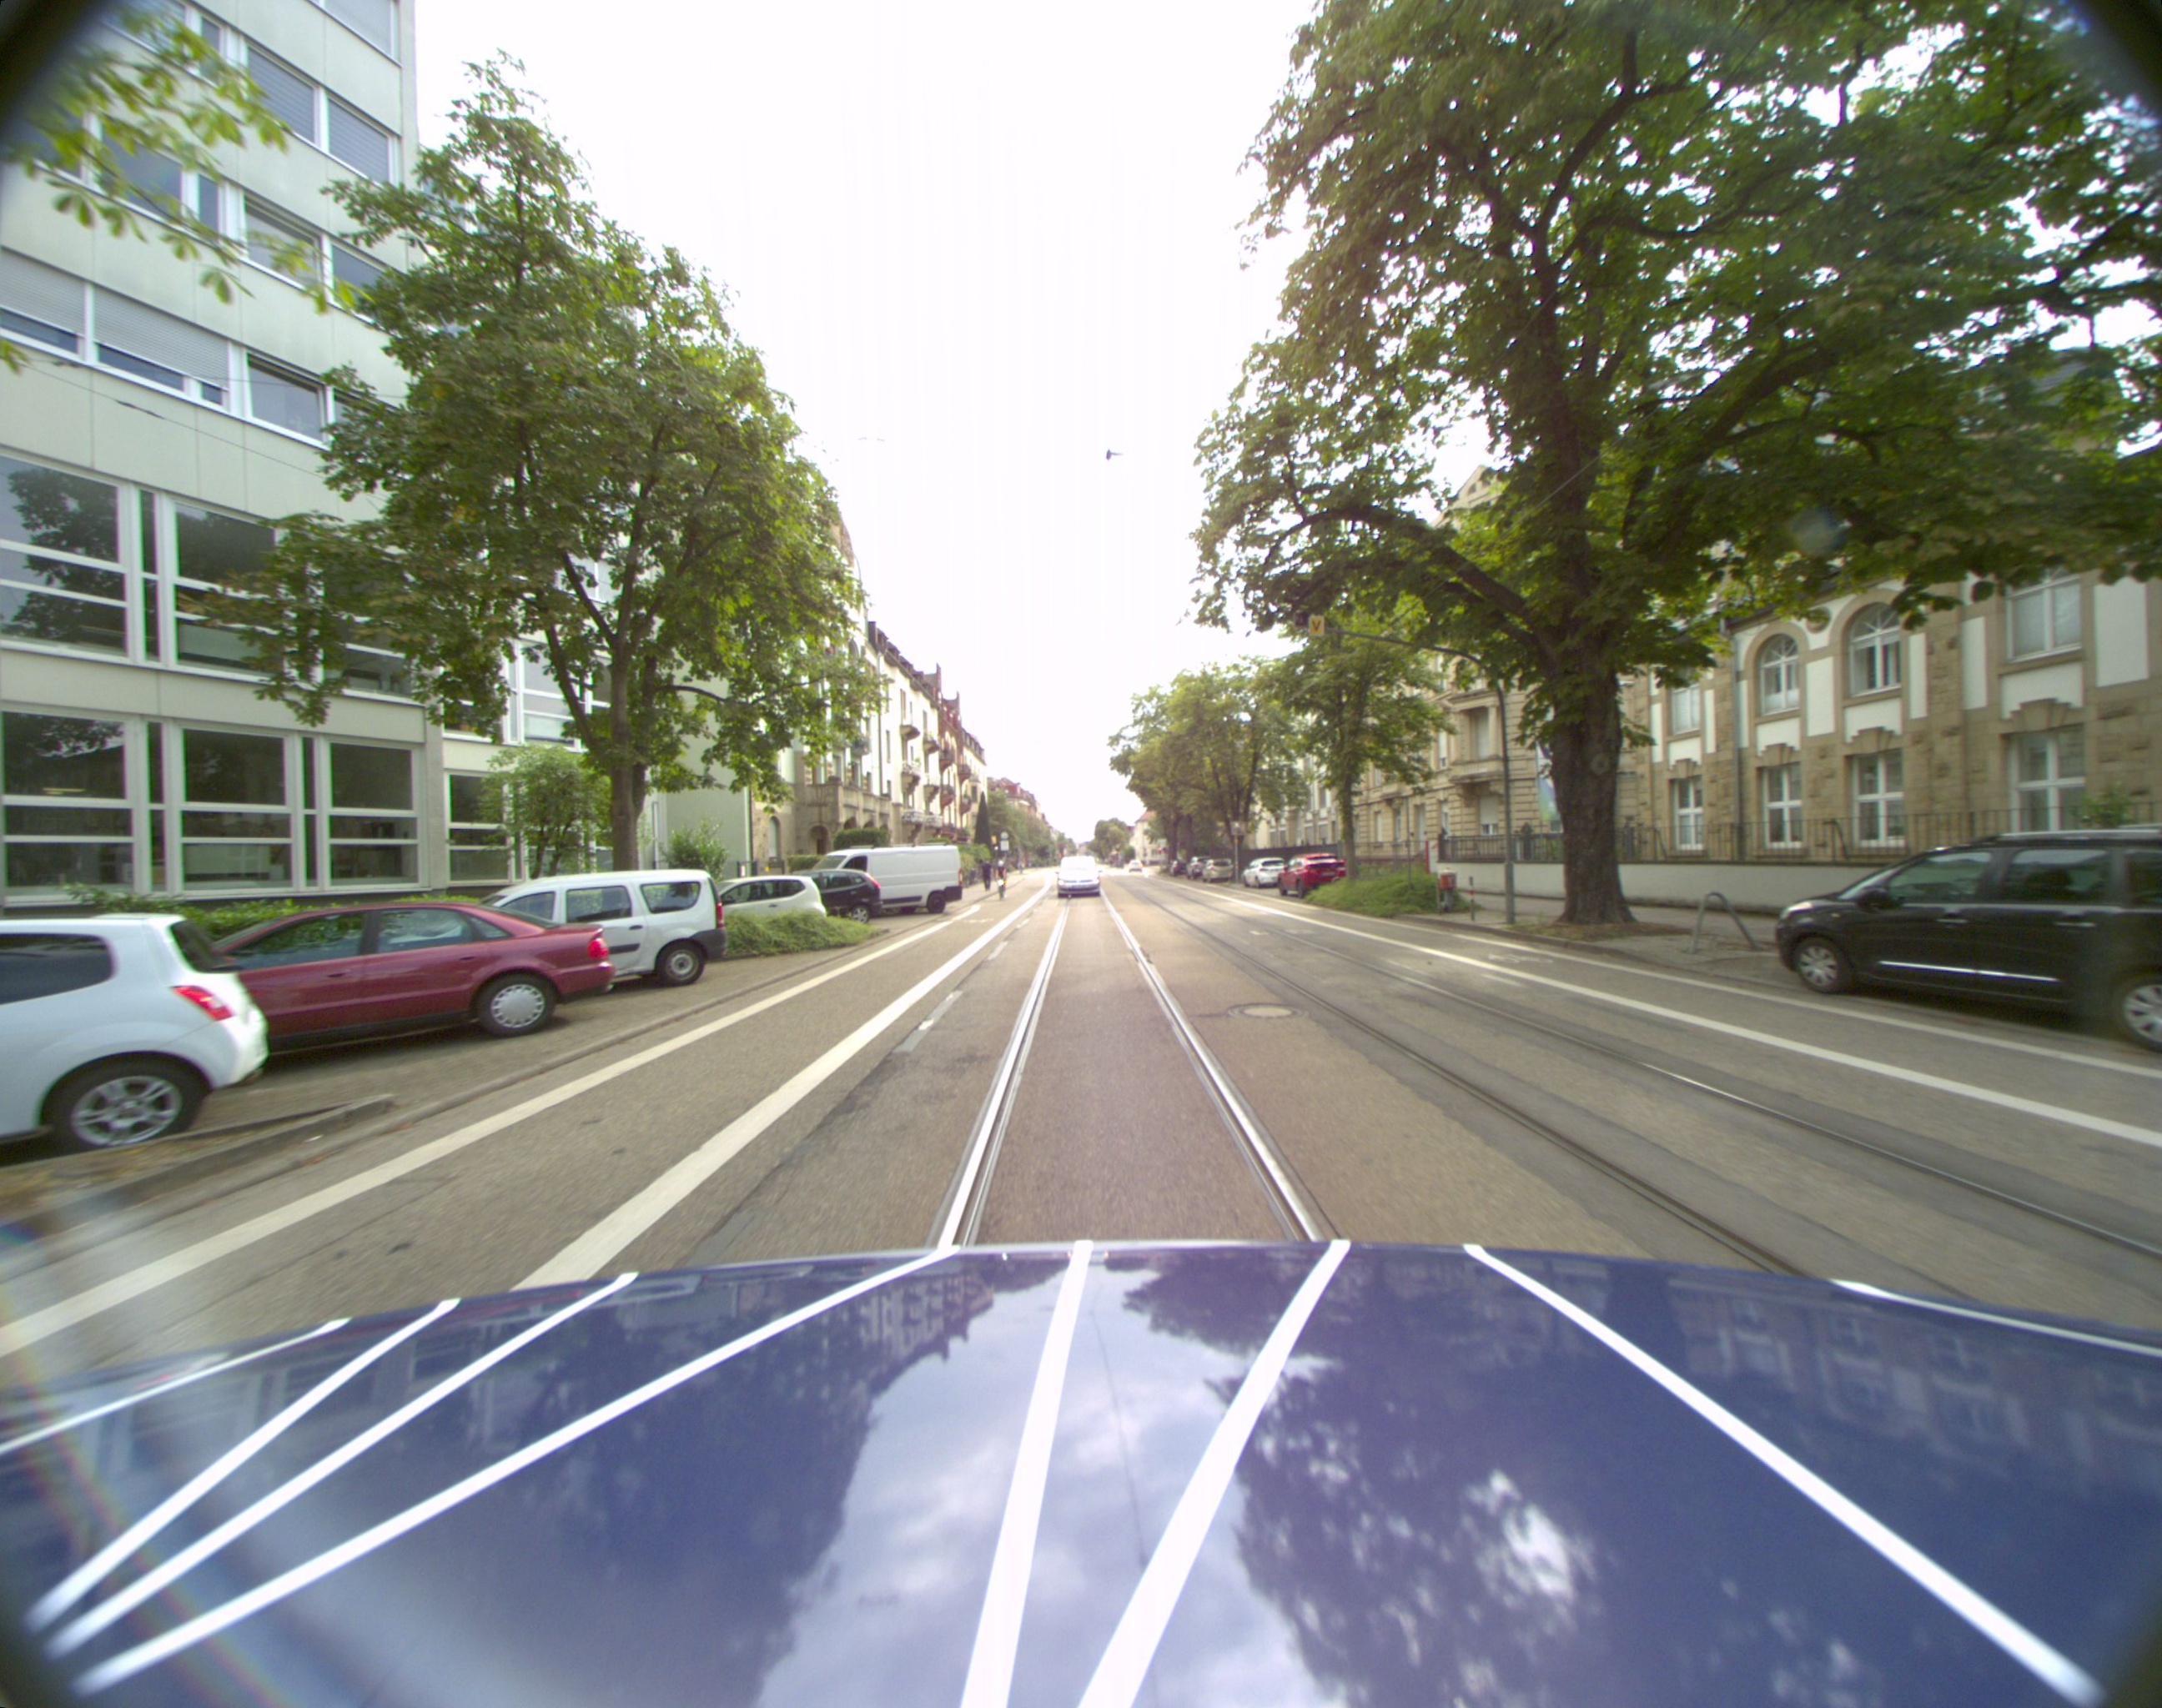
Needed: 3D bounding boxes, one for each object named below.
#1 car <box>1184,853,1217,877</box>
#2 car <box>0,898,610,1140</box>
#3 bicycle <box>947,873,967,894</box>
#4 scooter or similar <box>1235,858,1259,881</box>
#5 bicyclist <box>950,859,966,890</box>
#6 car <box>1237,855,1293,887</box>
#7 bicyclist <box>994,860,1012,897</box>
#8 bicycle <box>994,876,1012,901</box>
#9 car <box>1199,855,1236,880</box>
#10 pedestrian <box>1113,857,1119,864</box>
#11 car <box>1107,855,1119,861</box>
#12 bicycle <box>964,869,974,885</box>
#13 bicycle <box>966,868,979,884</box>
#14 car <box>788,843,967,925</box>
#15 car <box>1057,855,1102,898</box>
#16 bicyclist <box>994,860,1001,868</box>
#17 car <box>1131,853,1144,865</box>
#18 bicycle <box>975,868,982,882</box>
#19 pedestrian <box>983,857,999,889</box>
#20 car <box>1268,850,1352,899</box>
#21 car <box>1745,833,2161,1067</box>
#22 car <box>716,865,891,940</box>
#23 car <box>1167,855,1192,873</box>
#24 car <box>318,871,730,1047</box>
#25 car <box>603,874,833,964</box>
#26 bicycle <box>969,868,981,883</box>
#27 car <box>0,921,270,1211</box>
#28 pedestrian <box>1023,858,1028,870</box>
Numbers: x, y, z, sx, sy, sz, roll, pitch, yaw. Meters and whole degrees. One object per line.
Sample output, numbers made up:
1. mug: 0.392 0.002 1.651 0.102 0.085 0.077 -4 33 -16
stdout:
1. car: 8.774 0.767 56.215 1.715 1.664 4.357 -2 0 0
2. car: -6.965 1.281 7.185 3.983 1.424 1.685 -3 1 -42
3. bicycle: -5.901 1.396 36.238 0.690 0.956 2.036 0 0 -2
4. scooter or similar: 9.060 0.832 41.429 0.563 1.215 1.321 -2 0 -23
5. bicyclist: -5.906 0.985 36.423 0.649 1.461 0.800 0 0 -2
6. car: 9.220 0.812 38.328 1.726 1.415 4.023 -4 0 -1
7. bicyclist: -3.354 1.033 32.694 0.640 1.561 1.110 -1 0 -2
8. bicycle: -3.348 1.450 32.671 0.640 0.975 2.071 -1 0 -2
9. car: 8.652 0.847 48.408 1.604 1.459 4.079 -2 0 0
10. pedestrian: 6.438 1.156 139.482 1.033 1.229 0.723 -3 0 -2
11. car: 10.455 1.358 248.145 3.996 1.716 1.877 -3 0 3
12. bicycle: -6.756 1.400 45.820 0.487 0.902 1.663 -1 1 -11
13. bicycle: -6.796 1.362 47.732 0.487 0.902 1.665 -1 1 3
14. car: -6.482 0.872 24.540 4.968 2.277 2.378 -3 1 -43
15. car: -0.030 0.935 33.593 1.767 1.661 4.329 -3 0 1
16. bicyclist: -13.365 1.591 121.371 0.772 1.357 0.616 -2 1 44
17. car: 7.148 0.620 95.982 1.574 1.408 4.001 0 0 4
18. bicycle: -6.921 1.410 51.330 0.278 0.847 1.198 -1 1 0
19. pedestrian: -4.907 1.017 41.432 0.787 1.722 0.896 1 0 0
20. car: 8.811 0.728 29.623 1.726 1.645 4.542 -4 0 -1
21. car: 8.593 0.674 6.761 1.760 1.637 4.052 -3 0 -1
22. car: -7.324 1.218 20.315 3.968 1.639 1.685 -3 1 -45
23. car: 8.841 0.903 68.231 1.724 1.416 4.166 -4 0 2
24. car: -7.128 1.163 10.053 1.685 1.658 4.116 -2 1 45
25. car: -7.716 1.293 16.413 4.100 1.502 1.685 -3 1 -45
26. bicycle: -6.889 1.376 49.518 0.487 0.902 1.665 -1 1 0
27. car: -7.152 1.279 4.069 3.723 1.424 1.685 -3 1 -45
28. pedestrian: -7.661 1.399 105.076 0.721 1.651 0.759 2 0 -4
